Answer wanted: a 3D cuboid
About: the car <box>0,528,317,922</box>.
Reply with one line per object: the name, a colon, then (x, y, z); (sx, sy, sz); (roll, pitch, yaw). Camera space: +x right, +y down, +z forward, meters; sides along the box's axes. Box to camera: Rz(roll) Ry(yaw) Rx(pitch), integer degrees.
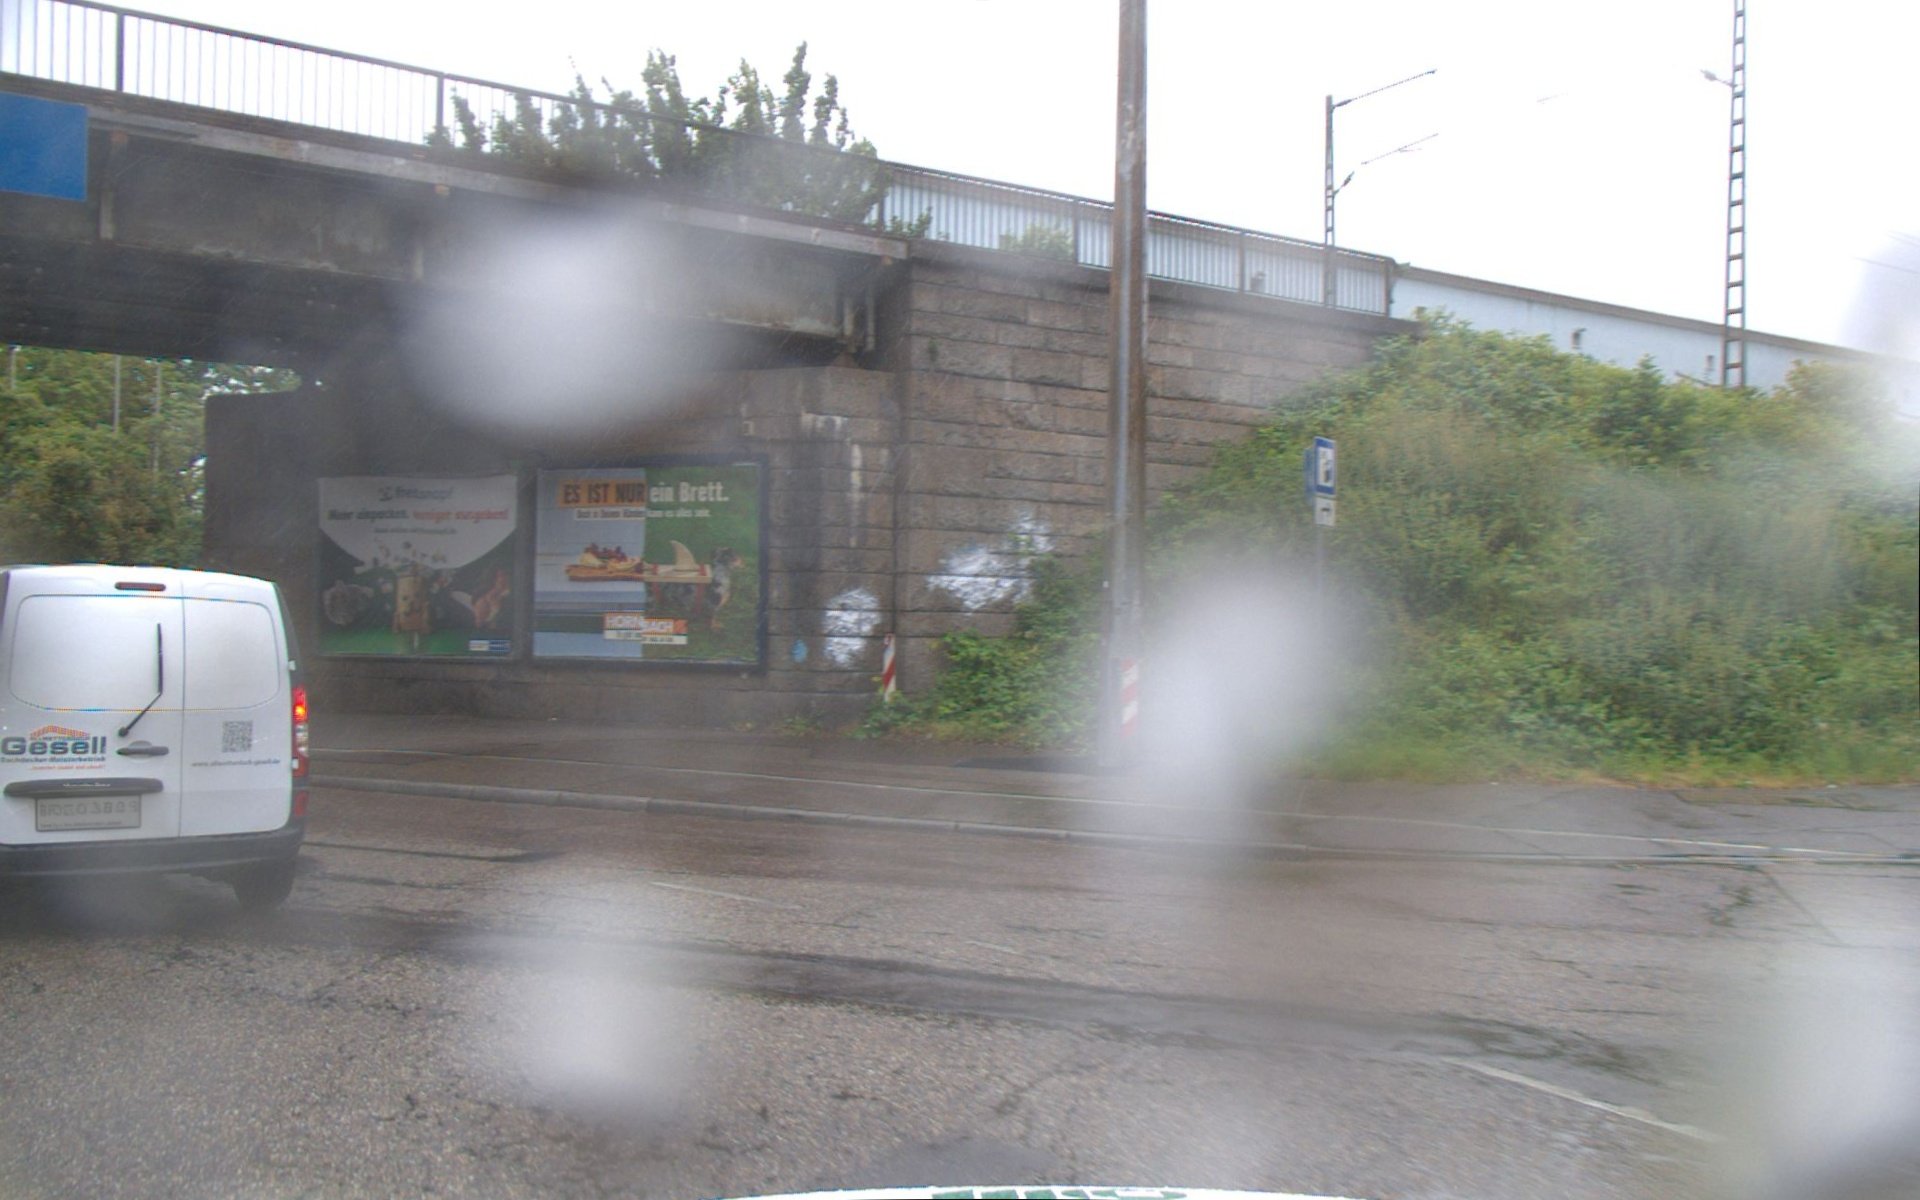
car: (-5.216, 0.605, 9.500); (1.744, 1.809, 3.944); (0, -1, -39)
